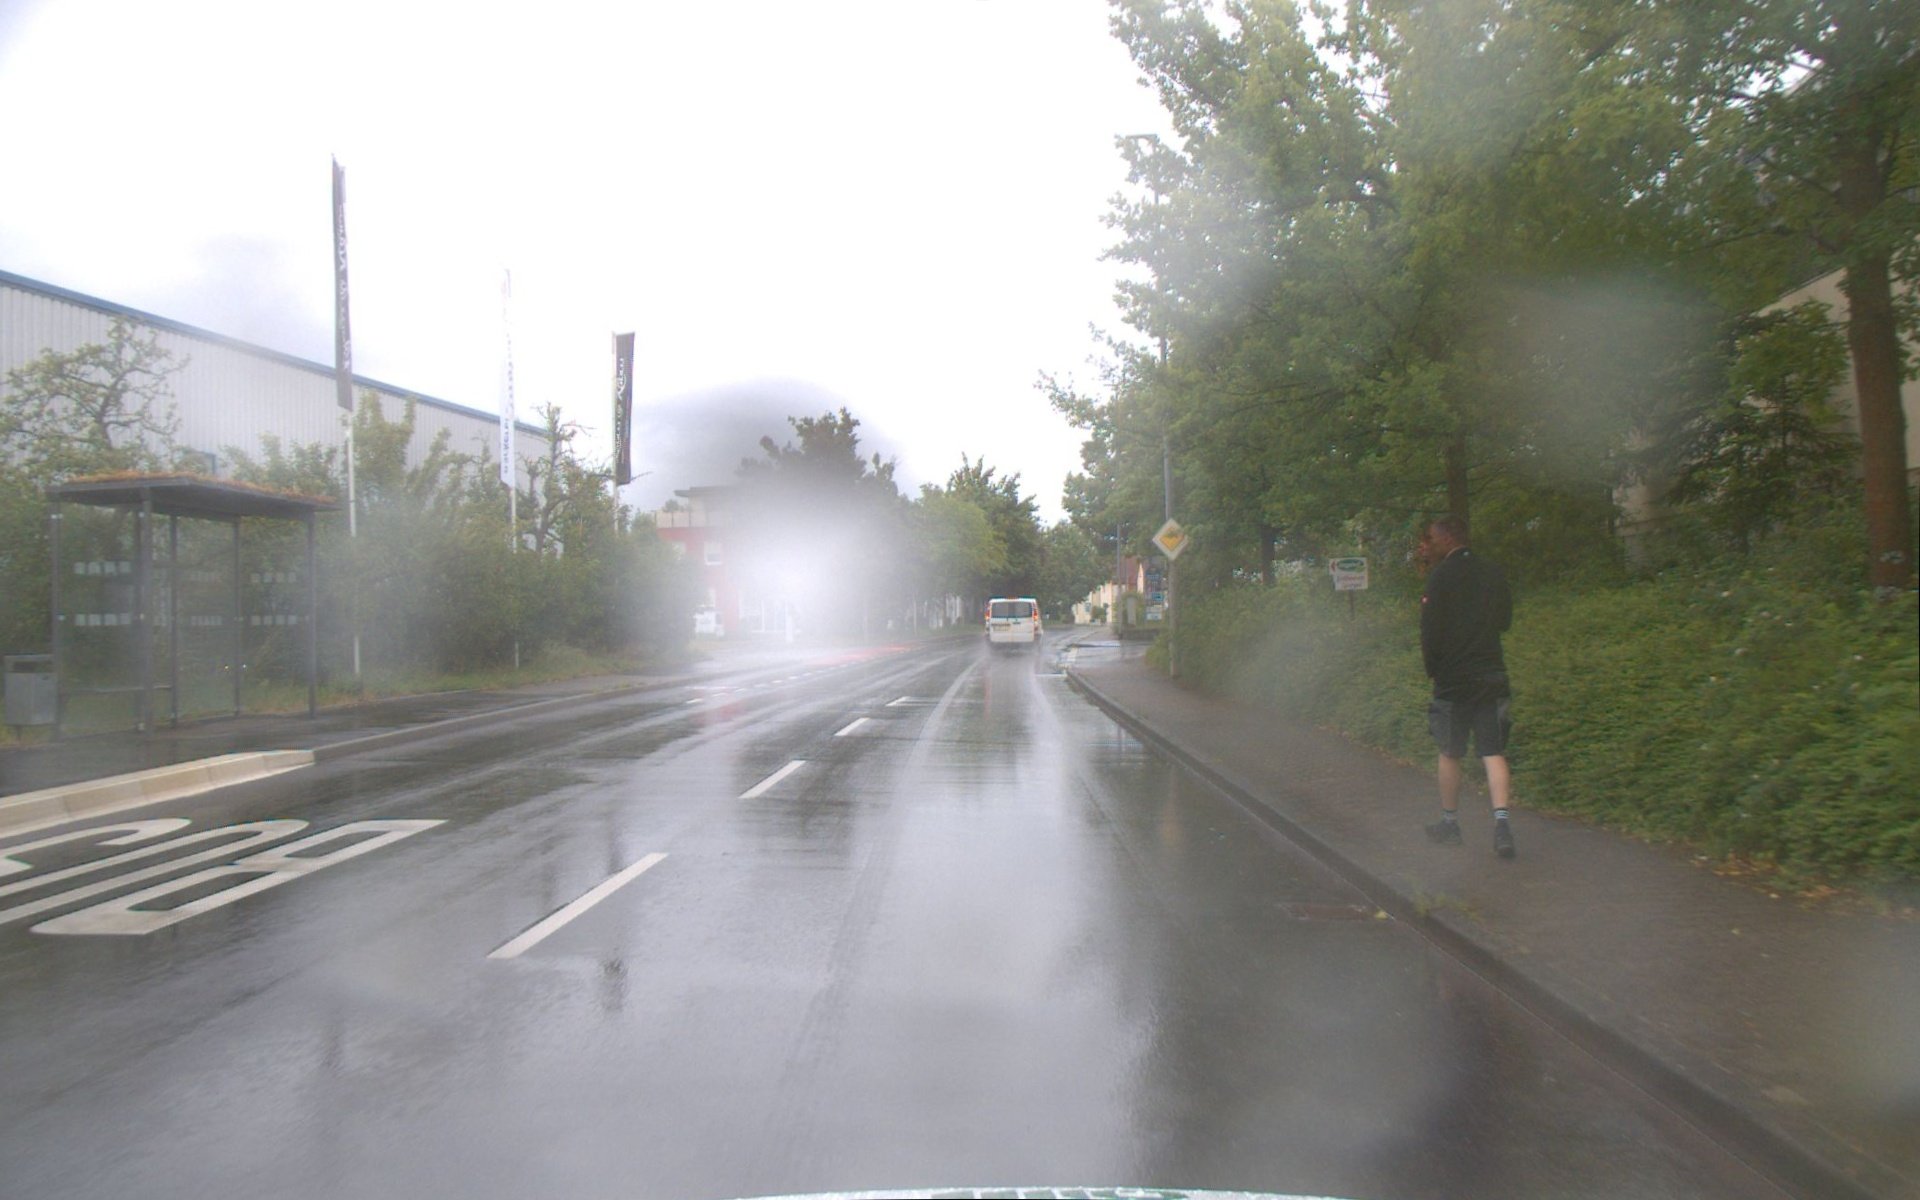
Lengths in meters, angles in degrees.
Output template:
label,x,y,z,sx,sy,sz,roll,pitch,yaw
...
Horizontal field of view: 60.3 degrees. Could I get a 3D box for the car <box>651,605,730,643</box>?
label,x,y,z,sx,sy,sz,roll,pitch,yaw
car,-16.789,1.483,103.264,4.381,2.351,2.186,0,0,10

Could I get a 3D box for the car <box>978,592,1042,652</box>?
label,x,y,z,sx,sy,sz,roll,pitch,yaw
car,1.677,0.700,56.109,2.073,1.921,4.503,0,0,2

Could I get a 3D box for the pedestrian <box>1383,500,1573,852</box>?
label,x,y,z,sx,sy,sz,roll,pitch,yaw
pedestrian,2.901,0.408,9.343,0.730,1.870,0.890,-2,0,-1
